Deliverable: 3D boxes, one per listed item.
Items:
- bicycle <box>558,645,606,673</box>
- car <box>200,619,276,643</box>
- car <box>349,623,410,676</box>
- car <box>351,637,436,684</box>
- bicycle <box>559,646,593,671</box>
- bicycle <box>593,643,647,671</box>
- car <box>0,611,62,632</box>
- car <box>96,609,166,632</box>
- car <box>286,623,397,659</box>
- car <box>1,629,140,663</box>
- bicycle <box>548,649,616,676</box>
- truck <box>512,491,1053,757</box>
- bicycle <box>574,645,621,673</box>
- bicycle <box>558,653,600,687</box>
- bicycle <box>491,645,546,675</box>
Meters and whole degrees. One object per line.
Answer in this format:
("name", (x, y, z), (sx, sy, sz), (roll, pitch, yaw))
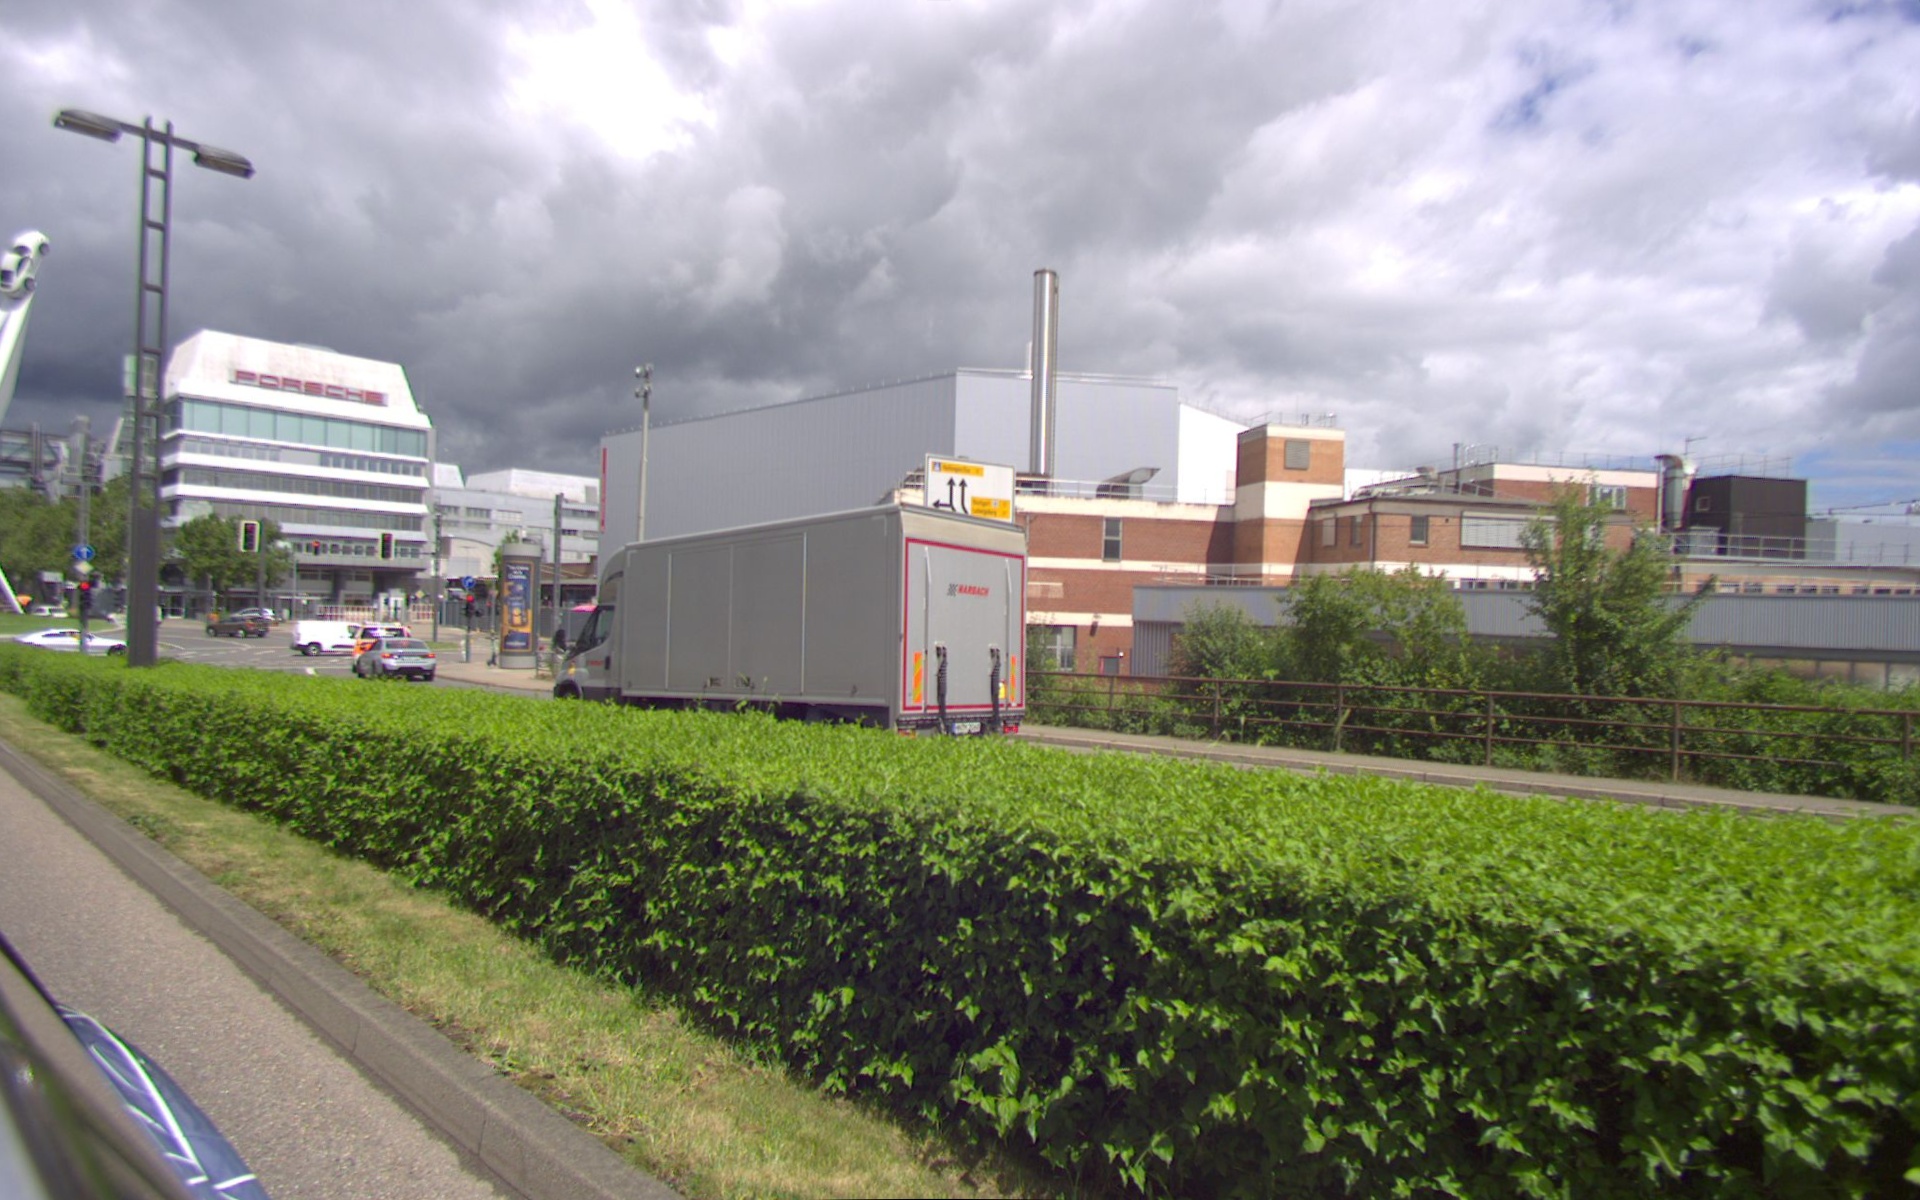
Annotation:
("bicycle", (-14.101, 2.202, 37.774), (0.616, 0.996, 1.939), (-1, -2, 17))
("car", (-53.059, 2.288, 74.422), (4.132, 1.708, 1.956), (1, -2, -5))
("car", (-23.340, 1.939, 40.637), (1.966, 1.973, 4.641), (1, -1, -31))
("car", (-19.486, 2.037, 34.714), (1.773, 1.433, 4.500), (3, -3, -39))
("bicycle", (-15.402, 2.329, 40.586), (1.950, 0.996, 0.513), (-2, -3, 44))
("bicycle", (-12.318, 2.049, 36.704), (0.619, 0.996, 1.928), (-2, -3, 32))
("car", (-73.889, 1.711, 80.033), (4.193, 1.591, 1.996), (0, -1, 7))
("car", (-68.047, 1.705, 83.090), (4.351, 1.843, 1.994), (0, -2, 9))
("car", (-33.321, 2.196, 54.568), (4.793, 1.837, 2.002), (2, -2, -42))
("car", (-41.059, 2.104, 46.798), (4.711, 1.497, 2.052), (2, -2, -43))
("bicycle", (-18.646, 3.059, 49.921), (3.028, 1.276, 1.167), (1, -2, -24))
("truck", (-3.235, 0.511, 15.161), (9.374, 2.879, 2.825), (-4, -4, 42))
("bicycle", (-13.414, 2.186, 37.533), (0.616, 0.996, 1.939), (-1, -2, 17))
("bicycle", (-11.744, 2.153, 31.163), (0.513, 0.996, 1.952), (2, -3, -43))
("bicycle", (-18.228, 2.478, 41.809), (2.012, 1.176, 0.622), (2, -2, -40))
